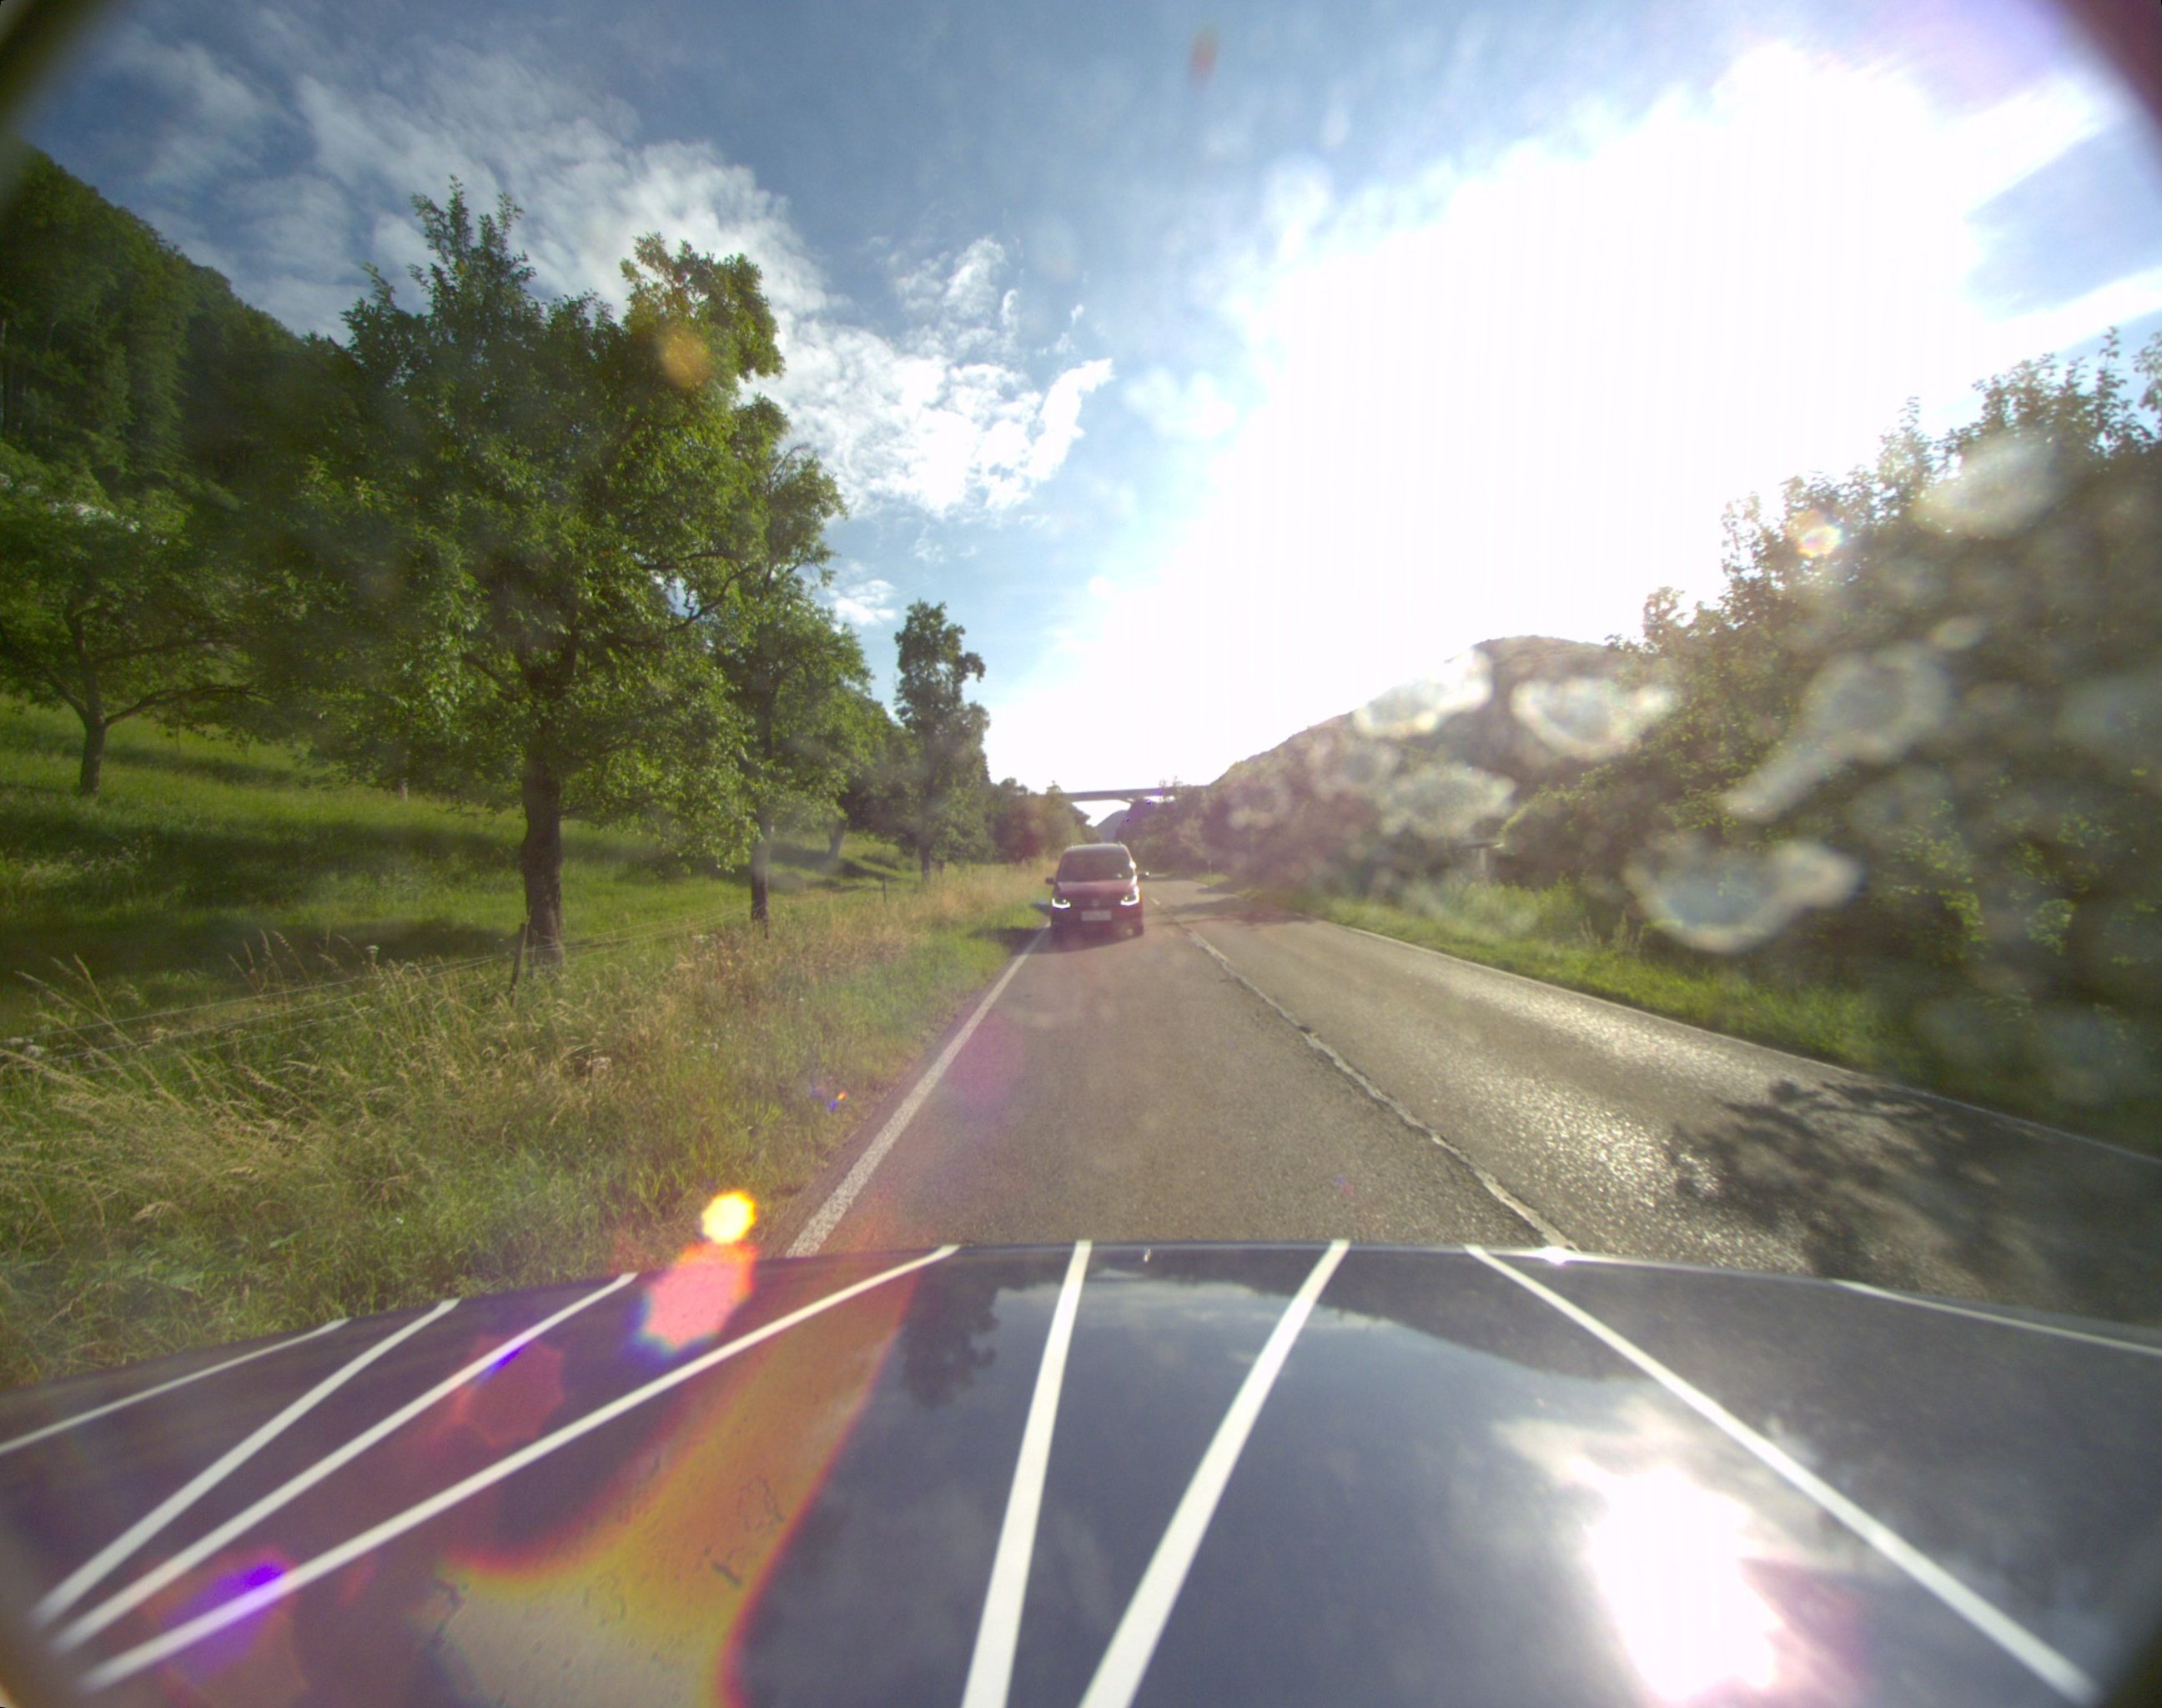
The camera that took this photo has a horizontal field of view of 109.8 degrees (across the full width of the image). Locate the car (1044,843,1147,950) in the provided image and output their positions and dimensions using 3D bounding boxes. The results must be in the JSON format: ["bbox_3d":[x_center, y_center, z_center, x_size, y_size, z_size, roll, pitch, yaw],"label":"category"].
[{"bbox_3d":[0.250,0.765,15.479,1.741,1.803,4.000,-3,0,0],"label":"car"}]
